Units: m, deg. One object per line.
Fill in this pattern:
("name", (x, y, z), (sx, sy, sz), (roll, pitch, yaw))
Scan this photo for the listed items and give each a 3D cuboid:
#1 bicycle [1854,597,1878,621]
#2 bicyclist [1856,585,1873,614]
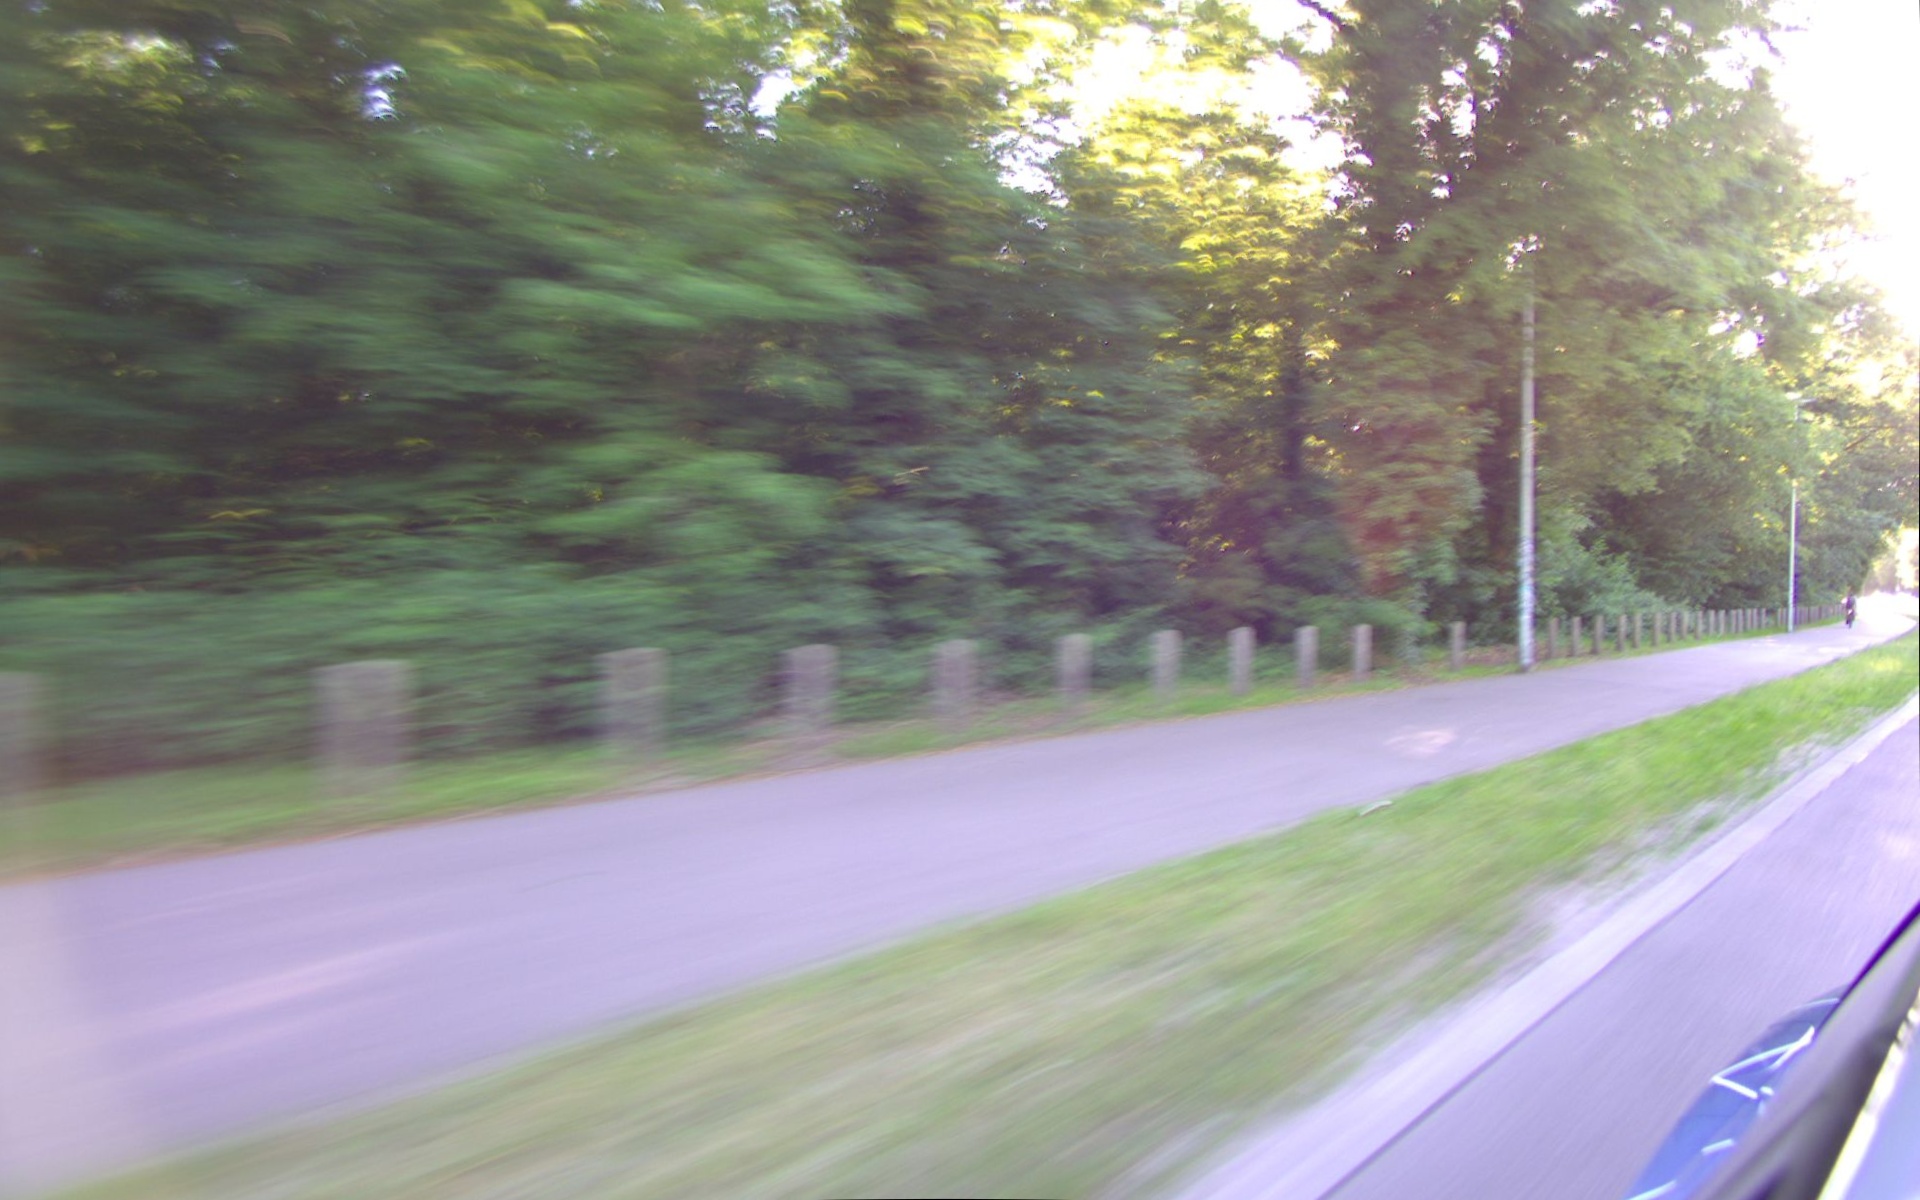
("bicycle", (41.835, 0.406, 46.727), (2.827, 1.070, 0.607), (0, 1, -44))
("bicyclist", (41.600, -0.021, 46.545), (0.489, 1.283, 0.513), (0, 1, -44))
